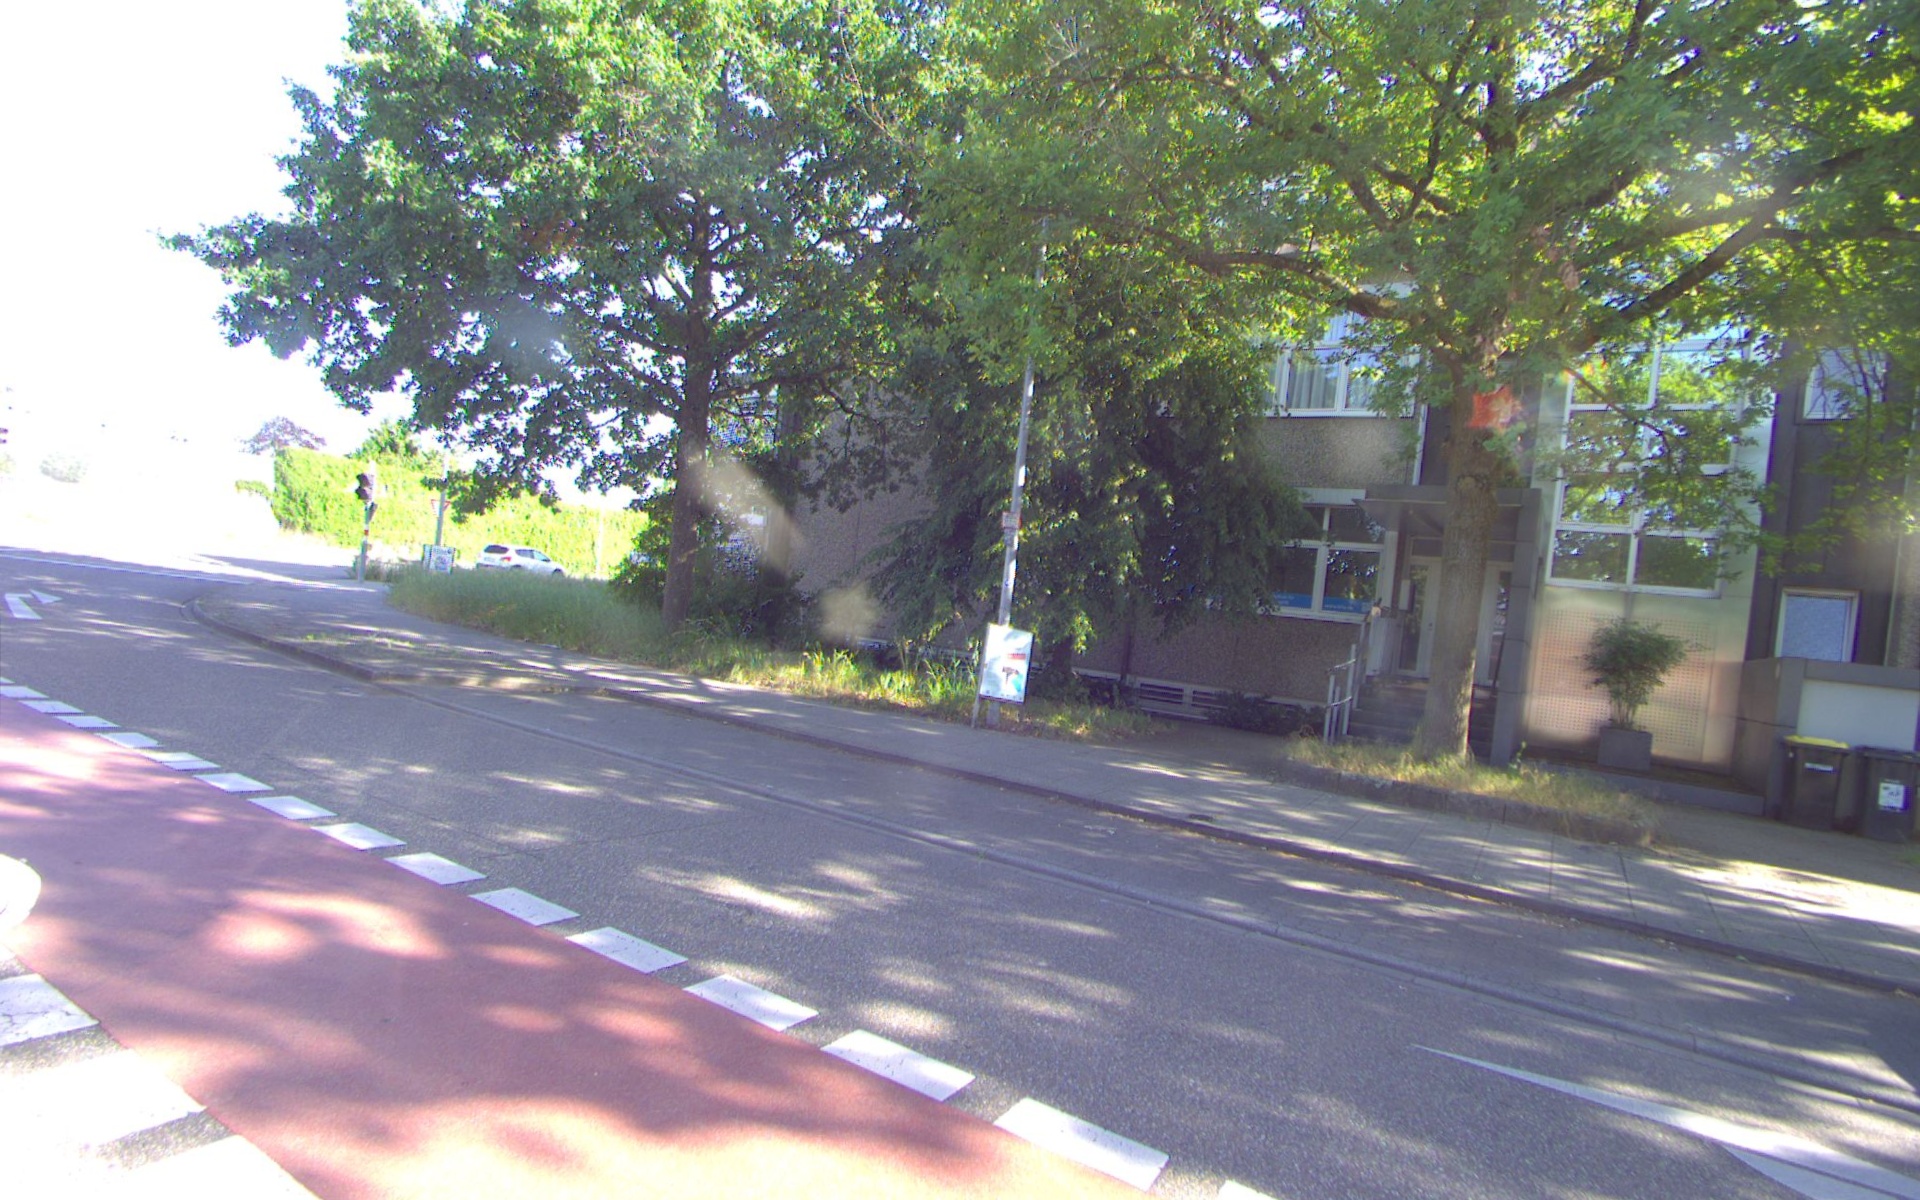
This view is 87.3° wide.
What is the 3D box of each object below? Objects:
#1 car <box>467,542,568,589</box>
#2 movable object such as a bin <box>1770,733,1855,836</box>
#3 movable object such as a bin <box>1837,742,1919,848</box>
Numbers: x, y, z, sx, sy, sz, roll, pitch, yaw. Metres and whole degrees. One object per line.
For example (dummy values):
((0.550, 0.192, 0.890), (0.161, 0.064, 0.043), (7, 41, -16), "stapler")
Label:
((-19.326, -1.467, 44.148), (1.690, 1.627, 4.067), (8, 1, 16), "car")
((10.165, 2.181, 12.018), (0.575, 1.070, 0.625), (7, 0, 30), "movable object such as a bin")
((10.754, 2.250, 11.725), (0.605, 1.075, 0.634), (6, 0, 30), "movable object such as a bin")
